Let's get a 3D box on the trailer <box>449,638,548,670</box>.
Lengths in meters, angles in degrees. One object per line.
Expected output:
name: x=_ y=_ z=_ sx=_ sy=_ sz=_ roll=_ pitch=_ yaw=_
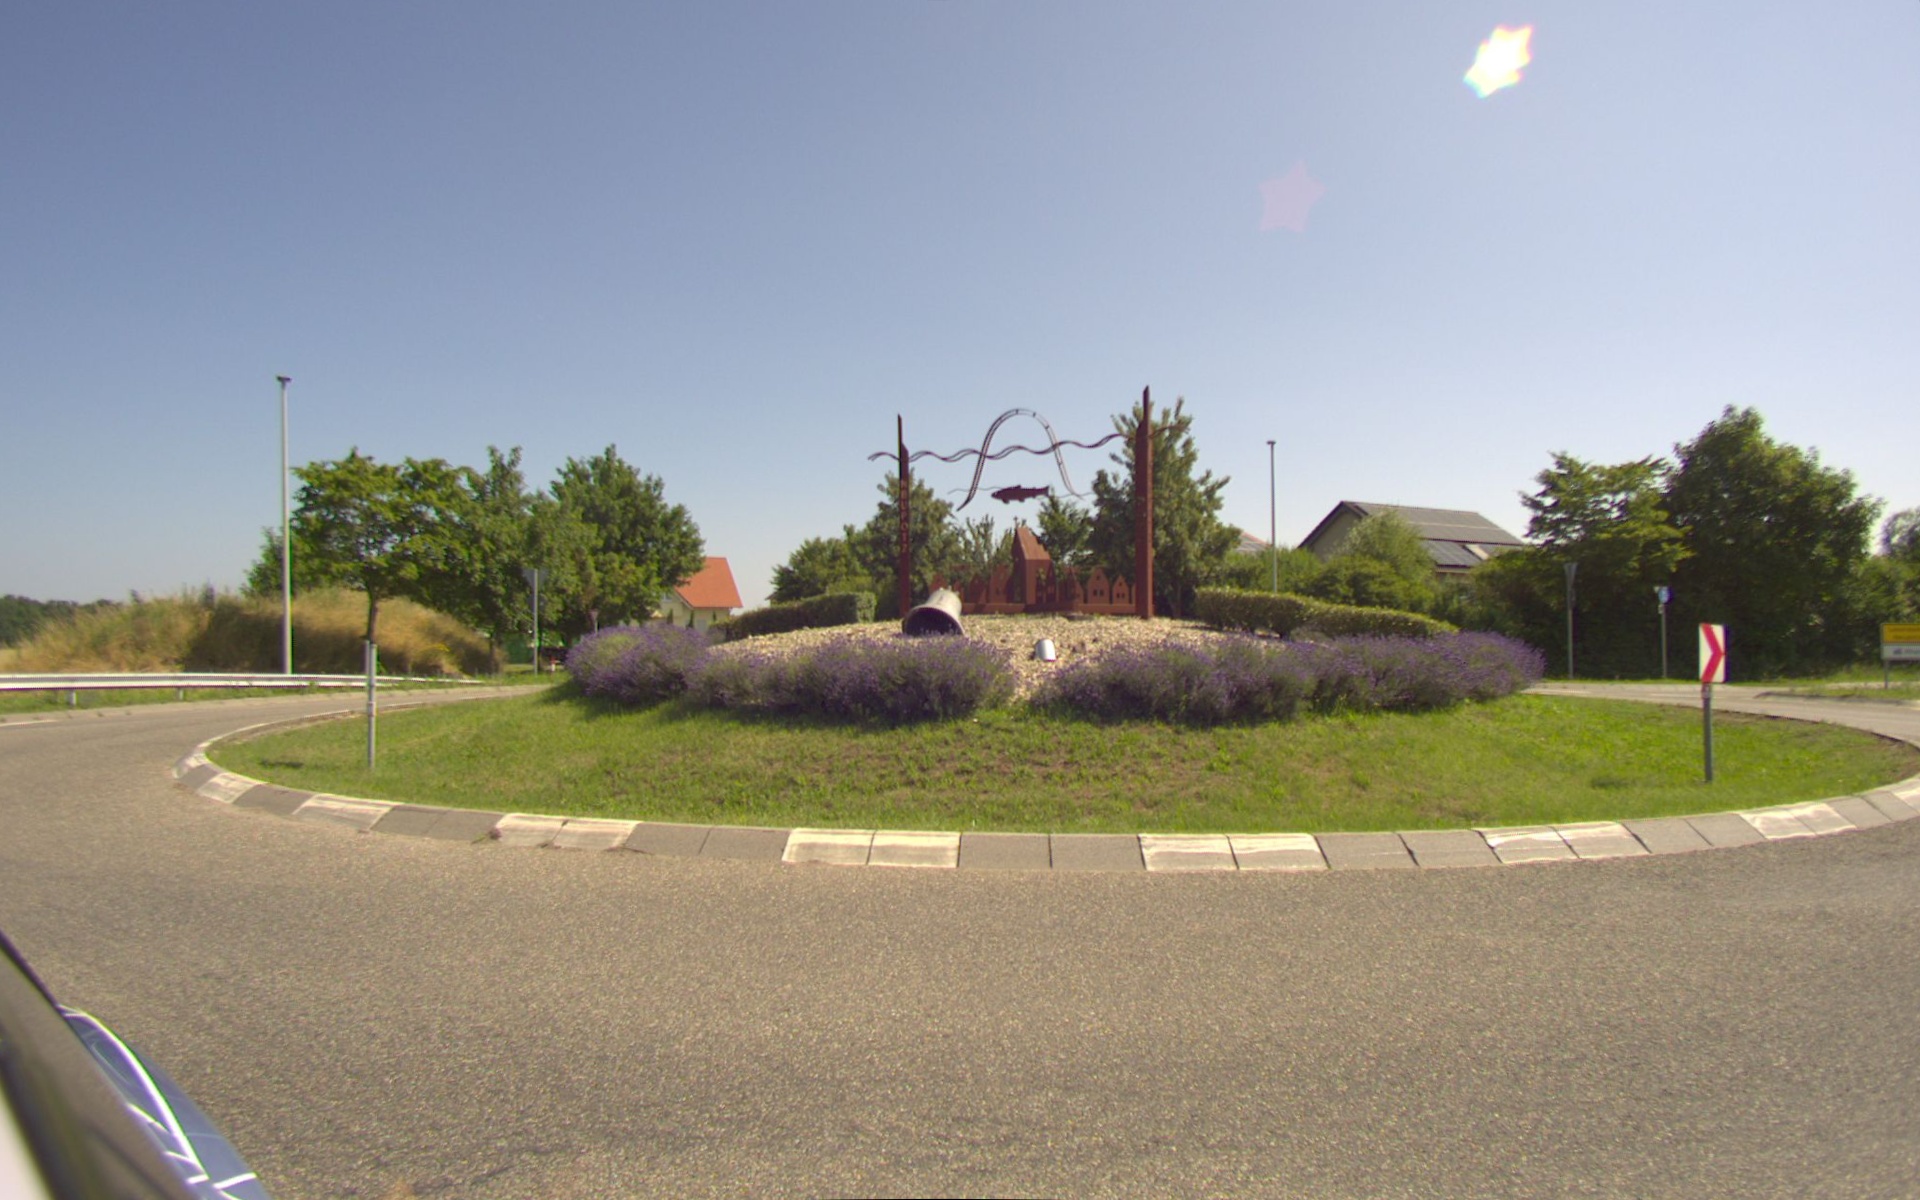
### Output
trailer: x=-36.695 y=4.241 z=80.236 sx=10.465 sy=2.295 sz=1.977 roll=-1 pitch=-2 yaw=35

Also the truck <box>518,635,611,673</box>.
truck: x=-29.344 y=3.919 z=74.949 sx=7.667 sy=2.669 sz=2.492 roll=-1 pitch=-2 yaw=34
